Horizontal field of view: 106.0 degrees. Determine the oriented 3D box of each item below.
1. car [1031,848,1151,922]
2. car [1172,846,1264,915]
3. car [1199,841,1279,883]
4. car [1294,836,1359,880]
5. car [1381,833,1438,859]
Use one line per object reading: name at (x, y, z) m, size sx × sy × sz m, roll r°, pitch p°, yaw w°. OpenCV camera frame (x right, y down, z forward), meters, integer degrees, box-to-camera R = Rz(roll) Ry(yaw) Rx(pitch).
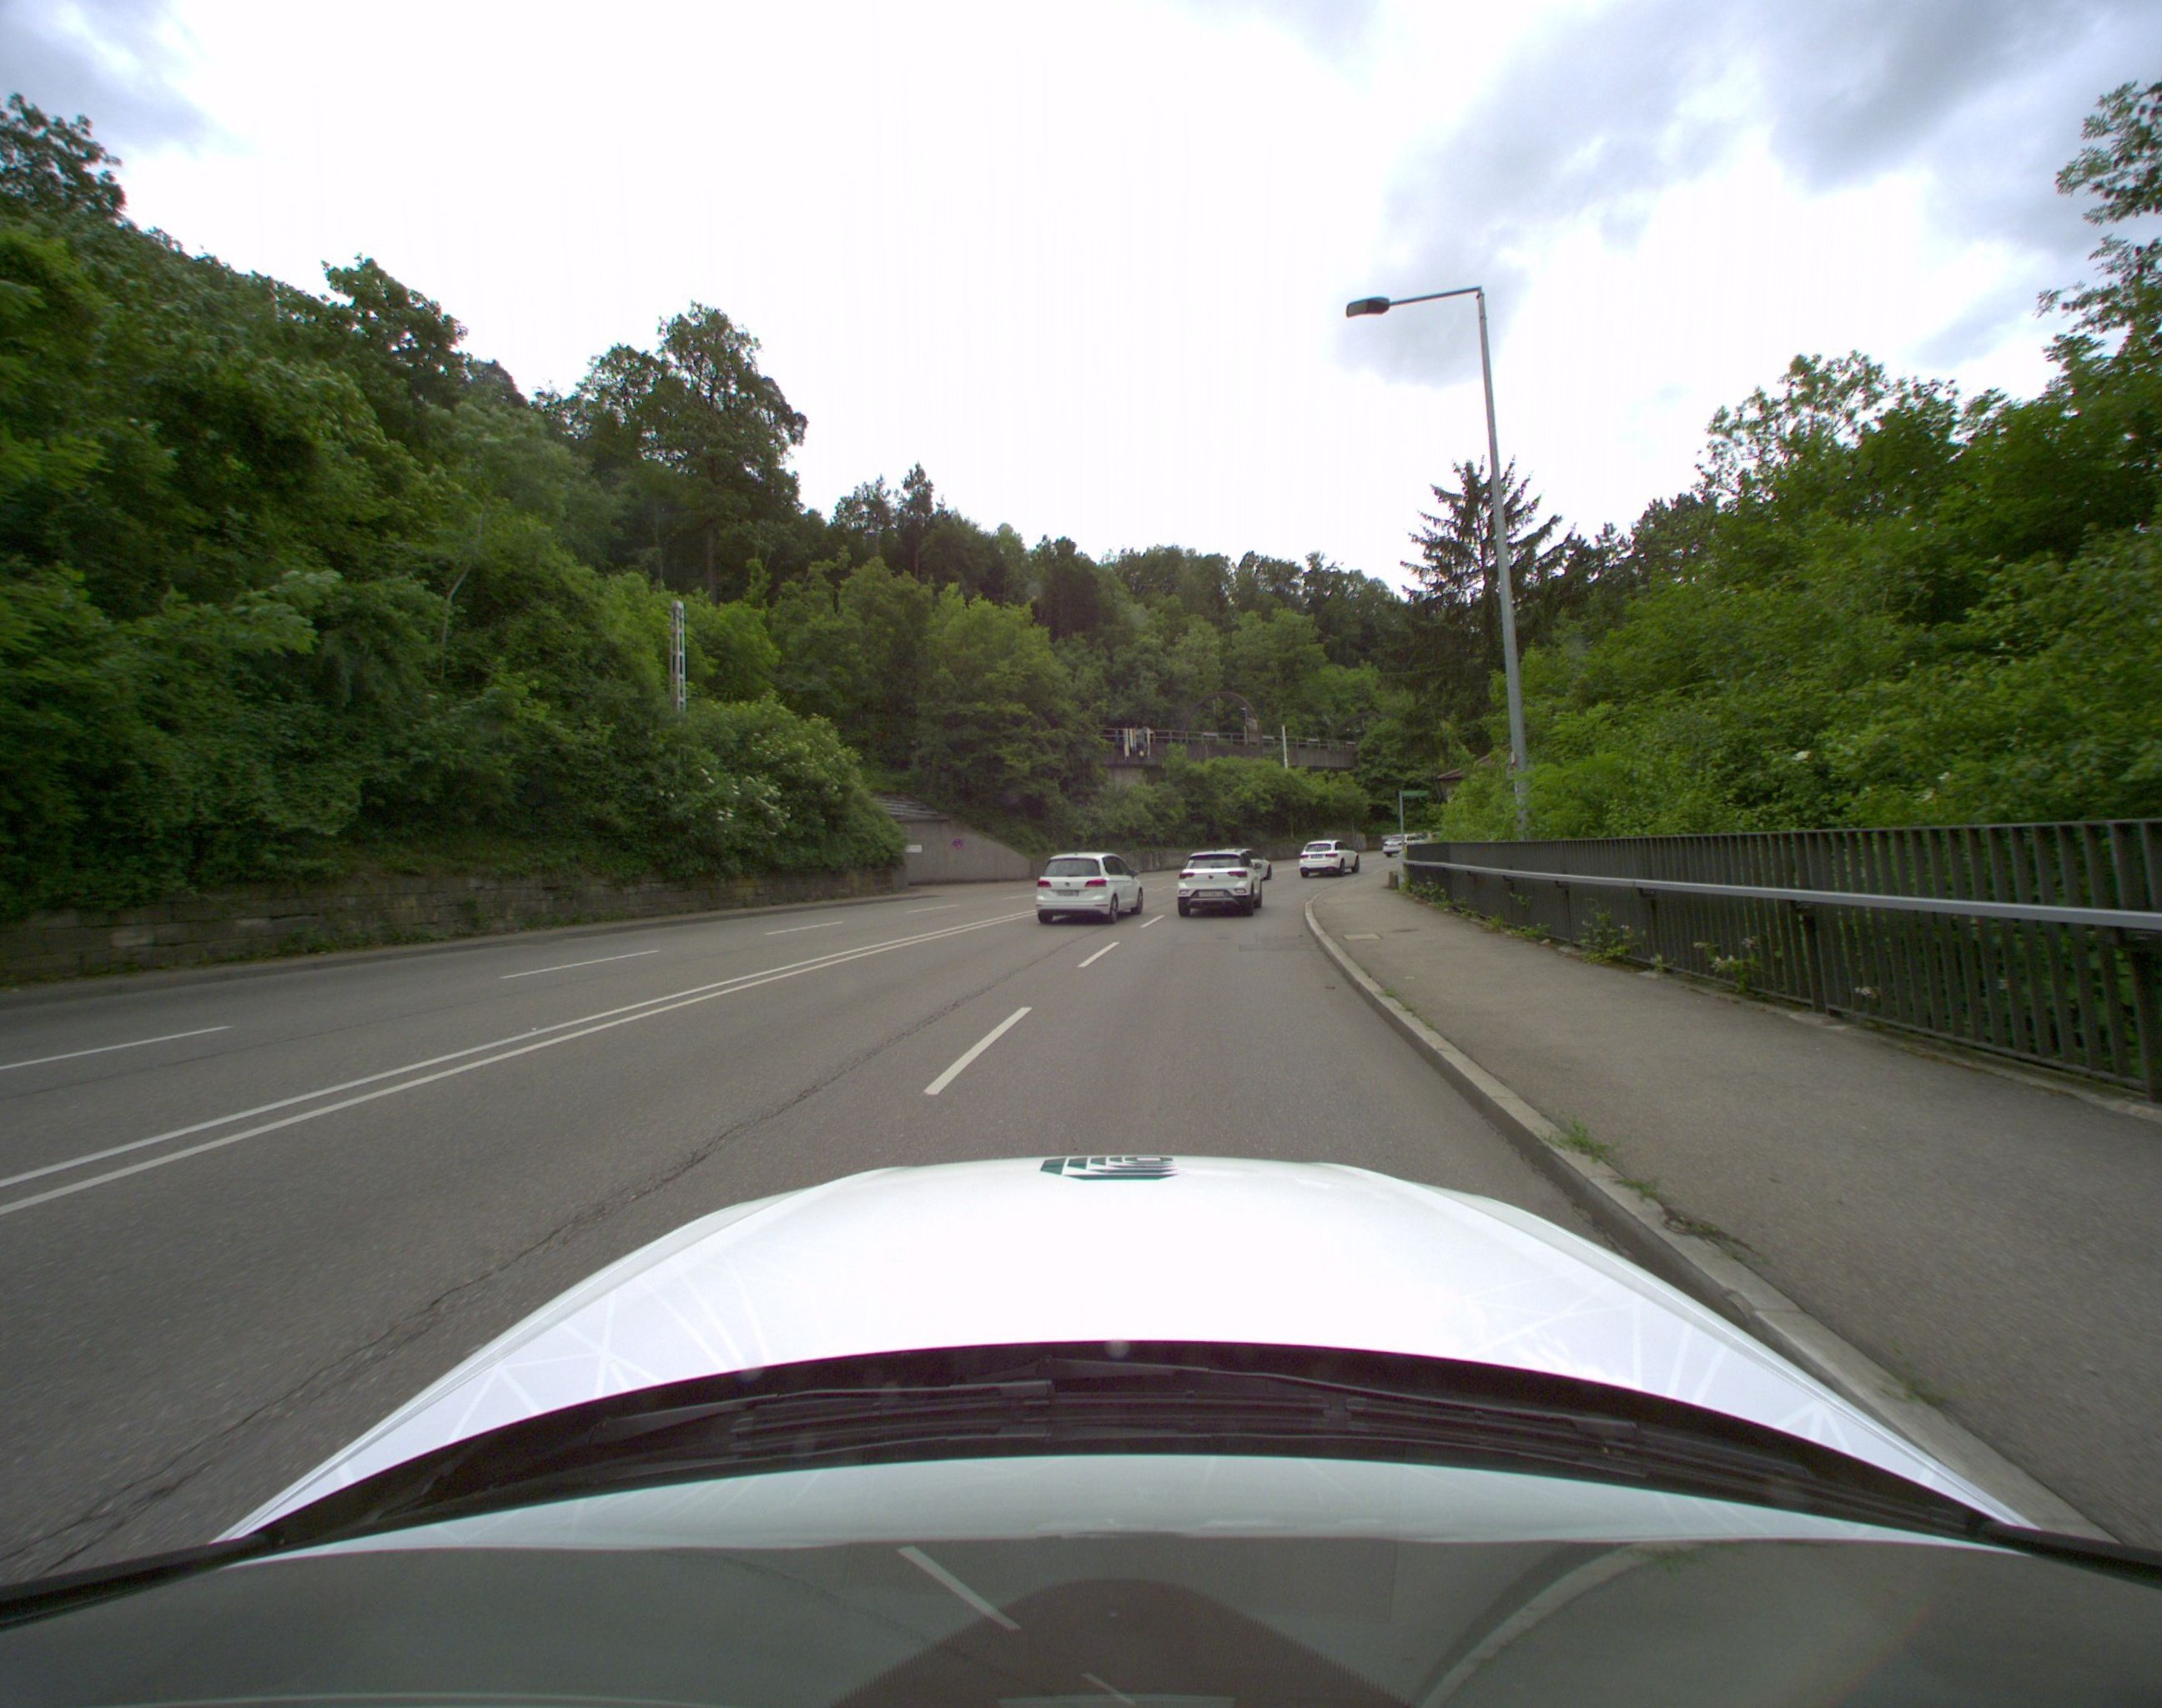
car at (0.369, 0.694, 19.417) m, size 1.707 × 1.554 × 4.294 m, roll 0°, pitch -1°, yaw 17°
car at (3.552, 0.644, 20.554) m, size 1.800 × 1.539 × 4.025 m, roll -2°, pitch -2°, yaw 16°
car at (6.897, 0.264, 35.118) m, size 1.975 × 1.557 × 4.711 m, roll 2°, pitch 3°, yaw 30°
car at (11.381, 0.229, 37.549) m, size 1.974 × 1.844 × 4.175 m, roll 0°, pitch -3°, yaw 29°
car at (22.084, -0.520, 54.667) m, size 4.330 × 1.519 × 1.726 m, roll 3°, pitch -3°, yaw -39°
